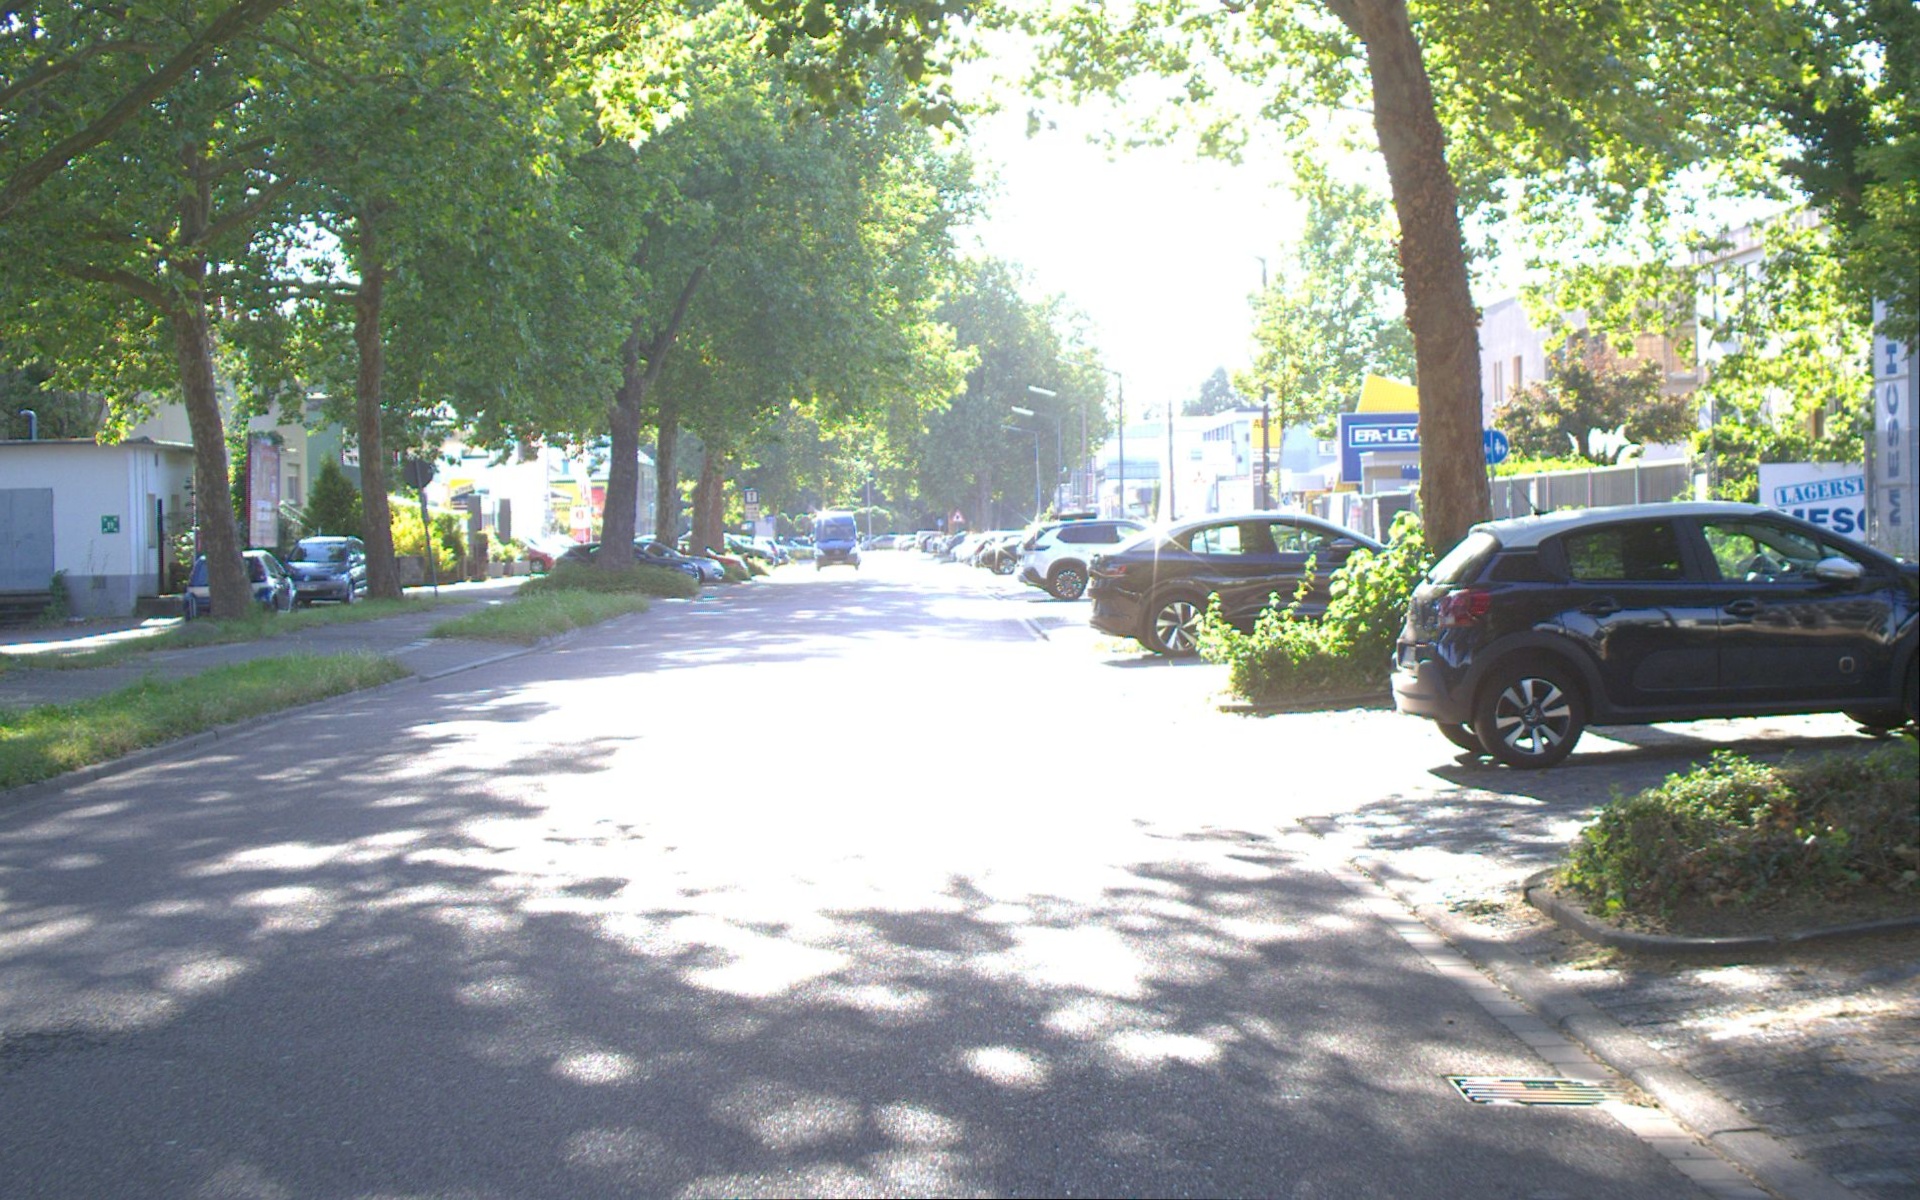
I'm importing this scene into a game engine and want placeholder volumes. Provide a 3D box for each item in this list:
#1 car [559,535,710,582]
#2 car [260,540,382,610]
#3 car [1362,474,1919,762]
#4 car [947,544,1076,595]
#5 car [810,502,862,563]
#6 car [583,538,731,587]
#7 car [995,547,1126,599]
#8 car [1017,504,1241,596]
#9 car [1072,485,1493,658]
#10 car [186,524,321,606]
[{"bbox_3d":[-10.249,-1.309,108.602,4.599,1.417,2.000,0,1,-1],"label":"car"},{"bbox_3d":[-14.985,-0.592,80.794,1.993,1.570,4.273,1,0,1],"label":"car"},{"bbox_3d":[4.509,0.070,20.851,3.784,1.481,1.861,-4,0,-2],"label":"car"},{"bbox_3d":[1.891,-1.121,127.436,4.600,1.608,2.000,-4,0,-1],"label":"car"},{"bbox_3d":[-5.545,-3.044,154.449,2.127,2.650,7.002,-1,1,-1],"label":"car"},{"bbox_3d":[-9.022,-1.126,102.639,4.353,1.417,2.000,0,1,-3],"label":"car"},{"bbox_3d":[3.607,-0.961,123.460,4.601,1.574,2.000,-4,0,1],"label":"car"},{"bbox_3d":[3.651,-1.081,74.830,4.624,1.706,2.000,-4,0,-2],"label":"car"},{"bbox_3d":[3.735,-0.335,40.296,4.569,1.710,1.944,-3,1,-4],"label":"car"},{"bbox_3d":[-13.476,-0.663,65.775,1.993,1.365,3.921,-5,1,-5],"label":"car"}]
